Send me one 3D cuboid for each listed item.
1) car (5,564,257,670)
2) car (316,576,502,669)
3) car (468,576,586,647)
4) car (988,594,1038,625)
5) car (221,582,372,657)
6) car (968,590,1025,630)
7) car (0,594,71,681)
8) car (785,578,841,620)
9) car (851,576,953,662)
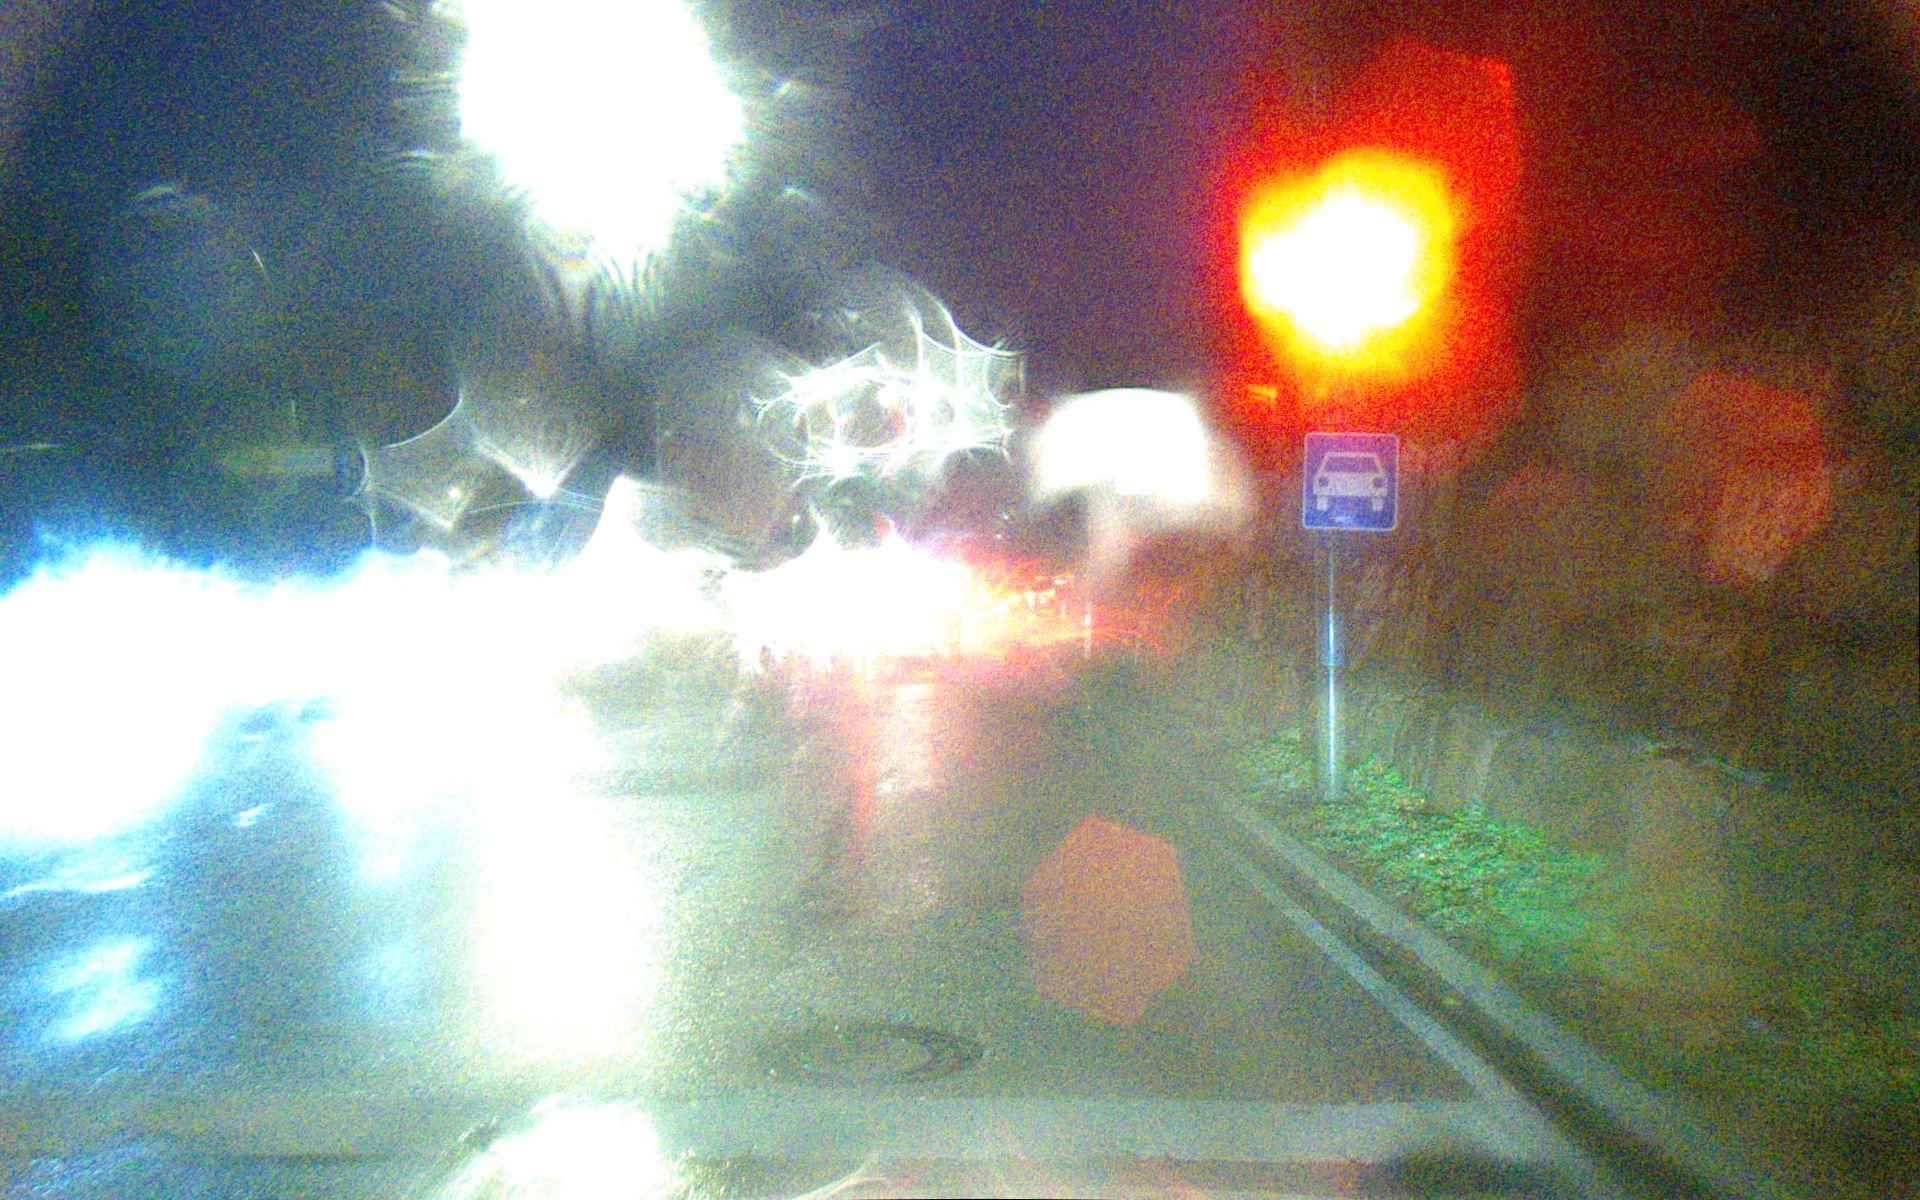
[{"bbox_3d":[-13.631,0.243,27.570,1.755,1.599,4.913,0,0,0],"label":"car"},{"bbox_3d":[-10.143,0.380,30.830,1.663,1.599,4.714,0,0,3],"label":"car"},{"bbox_3d":[-9.892,0.276,38.025,1.552,1.552,3.653,0,-1,3],"label":"car"},{"bbox_3d":[2.369,0.453,74.564,2.064,1.363,4.293,0,-1,-1],"label":"car"},{"bbox_3d":[-13.749,0.411,34.484,1.634,1.479,3.728,0,-1,0],"label":"car"},{"bbox_3d":[1.381,0.388,63.649,2.060,1.464,3.999,0,-1,-1],"label":"car"},{"bbox_3d":[-21.574,0.815,35.741,3.958,1.863,1.699,-1,1,-37],"label":"car"},{"bbox_3d":[-6.212,-0.041,70.475,1.681,1.733,4.145,0,0,5],"label":"car"},{"bbox_3d":[-1.132,0.394,33.700,1.953,1.639,4.102,0,-1,-1],"label":"car"}]
